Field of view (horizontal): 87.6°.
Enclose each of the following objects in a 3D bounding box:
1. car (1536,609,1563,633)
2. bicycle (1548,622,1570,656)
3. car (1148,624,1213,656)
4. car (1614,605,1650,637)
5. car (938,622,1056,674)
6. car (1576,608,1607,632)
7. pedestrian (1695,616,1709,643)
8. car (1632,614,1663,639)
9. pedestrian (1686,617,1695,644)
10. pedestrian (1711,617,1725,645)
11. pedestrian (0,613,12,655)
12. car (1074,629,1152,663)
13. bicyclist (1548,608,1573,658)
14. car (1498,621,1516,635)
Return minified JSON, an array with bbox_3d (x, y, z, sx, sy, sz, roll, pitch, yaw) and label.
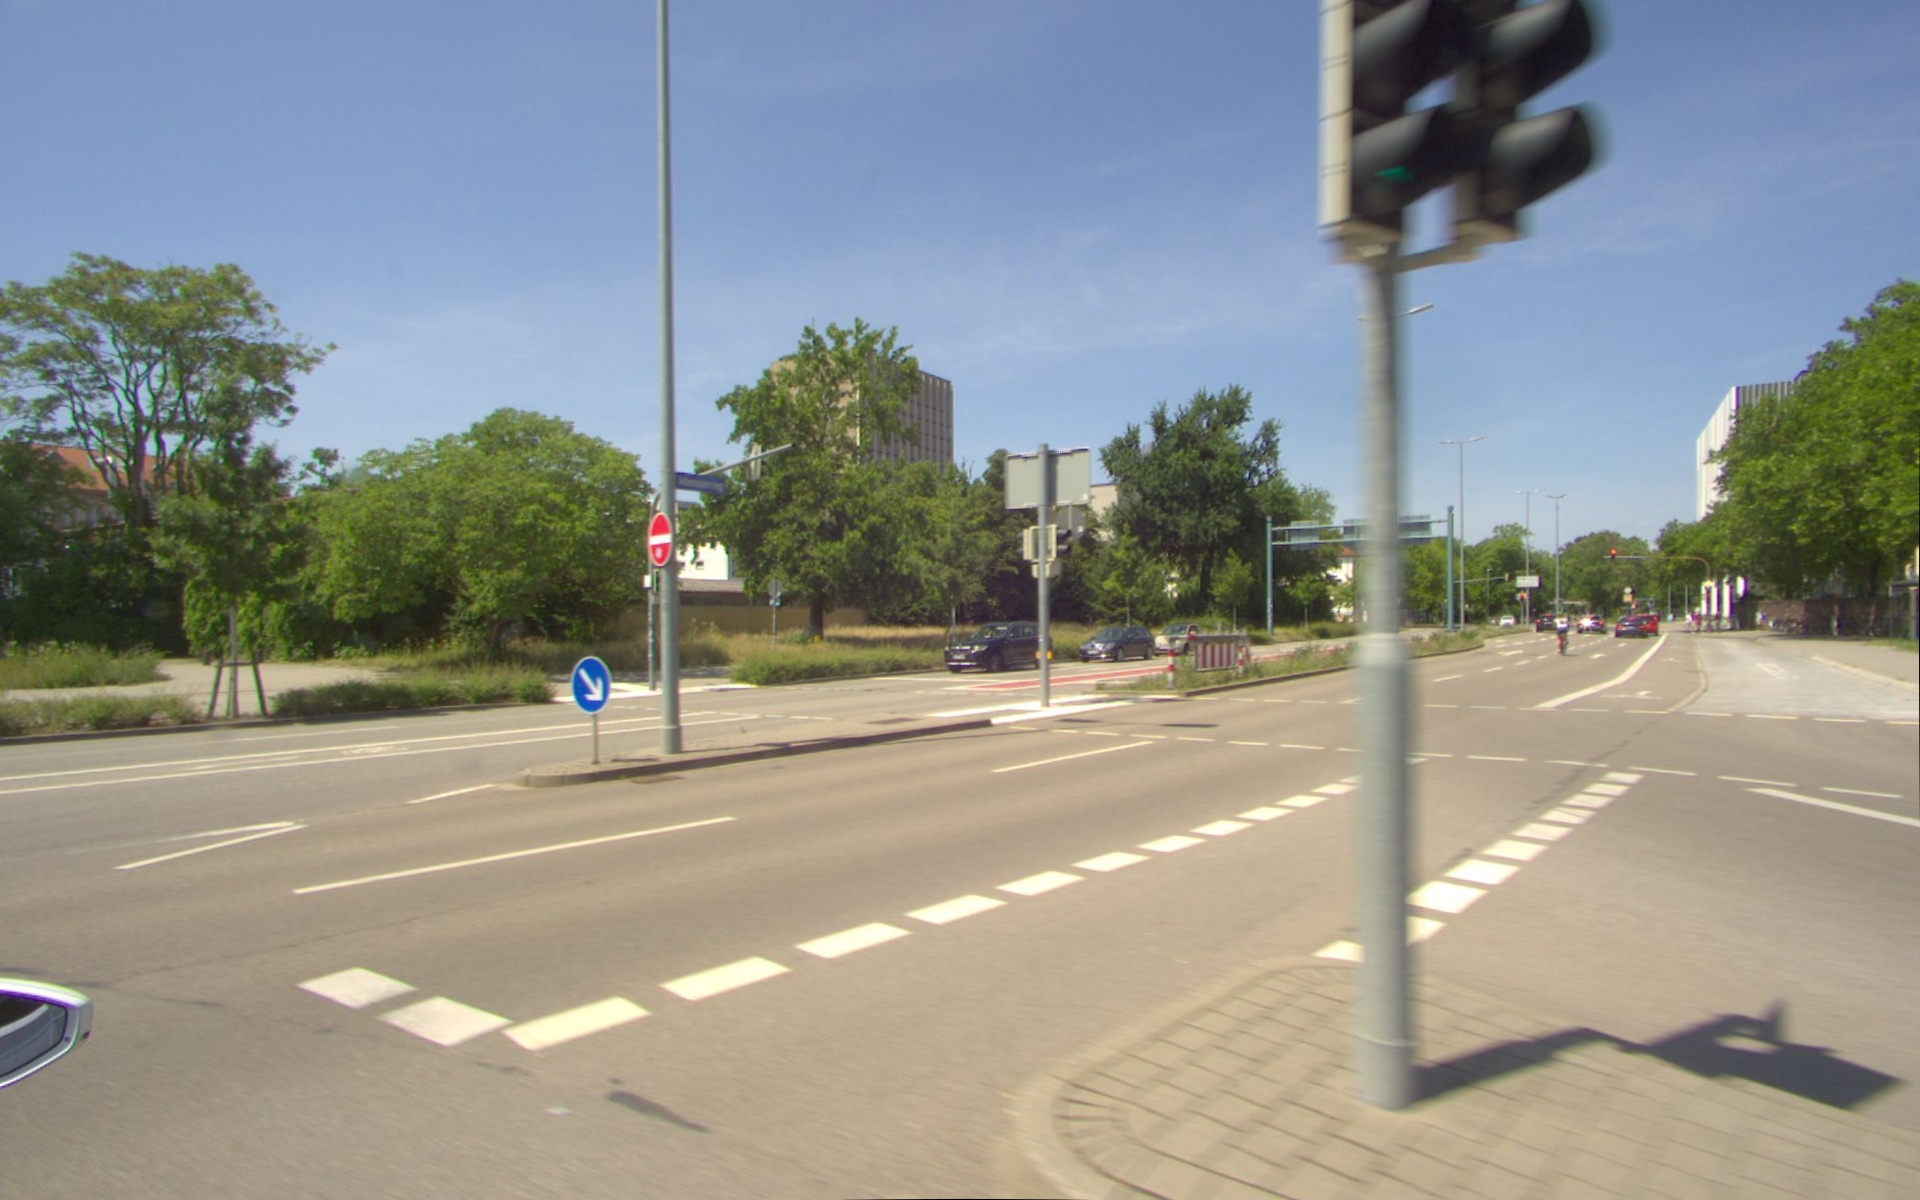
[{"bbox_3d":[46.359,1.674,78.680,1.753,1.689,3.982,-1,-3,32],"label":"car"},{"bbox_3d":[23.152,1.517,38.712,0.512,1.252,2.186,0,-3,25],"label":"bicycle"},{"bbox_3d":[10.362,1.893,46.922,1.735,1.457,3.981,-1,-3,32],"label":"car"},{"bbox_3d":[45.941,1.492,68.496,1.973,2.039,4.192,-1,-3,34],"label":"car"},{"bbox_3d":[1.333,1.581,34.287,1.688,1.607,4.522,-1,-1,39],"label":"car"},{"bbox_3d":[48.562,1.558,76.960,1.759,1.705,3.976,-1,-3,36],"label":"car"},{"bbox_3d":[56.416,2.249,76.156,0.778,2.039,0.959,0,-2,34],"label":"pedestrian"},{"bbox_3d":[50.229,1.926,73.096,1.759,1.705,3.976,-1,-3,36],"label":"car"},{"bbox_3d":[55.564,2.348,76.198,0.542,2.039,0.533,0,-2,35],"label":"pedestrian"},{"bbox_3d":[57.261,2.349,75.677,0.778,2.039,0.836,0,-2,34],"label":"pedestrian"},{"bbox_3d":[-38.998,1.371,40.599,0.697,1.686,0.638,0,-2,32],"label":"pedestrian"},{"bbox_3d":[6.388,1.919,41.427,1.735,1.326,3.981,-1,-3,32],"label":"car"},{"bbox_3d":[23.172,1.281,38.658,0.697,1.910,1.136,0,-2,25],"label":"bicyclist"},{"bbox_3d":[70.241,3.621,128.603,1.713,1.707,3.895,-1,-3,34],"label":"car"}]
